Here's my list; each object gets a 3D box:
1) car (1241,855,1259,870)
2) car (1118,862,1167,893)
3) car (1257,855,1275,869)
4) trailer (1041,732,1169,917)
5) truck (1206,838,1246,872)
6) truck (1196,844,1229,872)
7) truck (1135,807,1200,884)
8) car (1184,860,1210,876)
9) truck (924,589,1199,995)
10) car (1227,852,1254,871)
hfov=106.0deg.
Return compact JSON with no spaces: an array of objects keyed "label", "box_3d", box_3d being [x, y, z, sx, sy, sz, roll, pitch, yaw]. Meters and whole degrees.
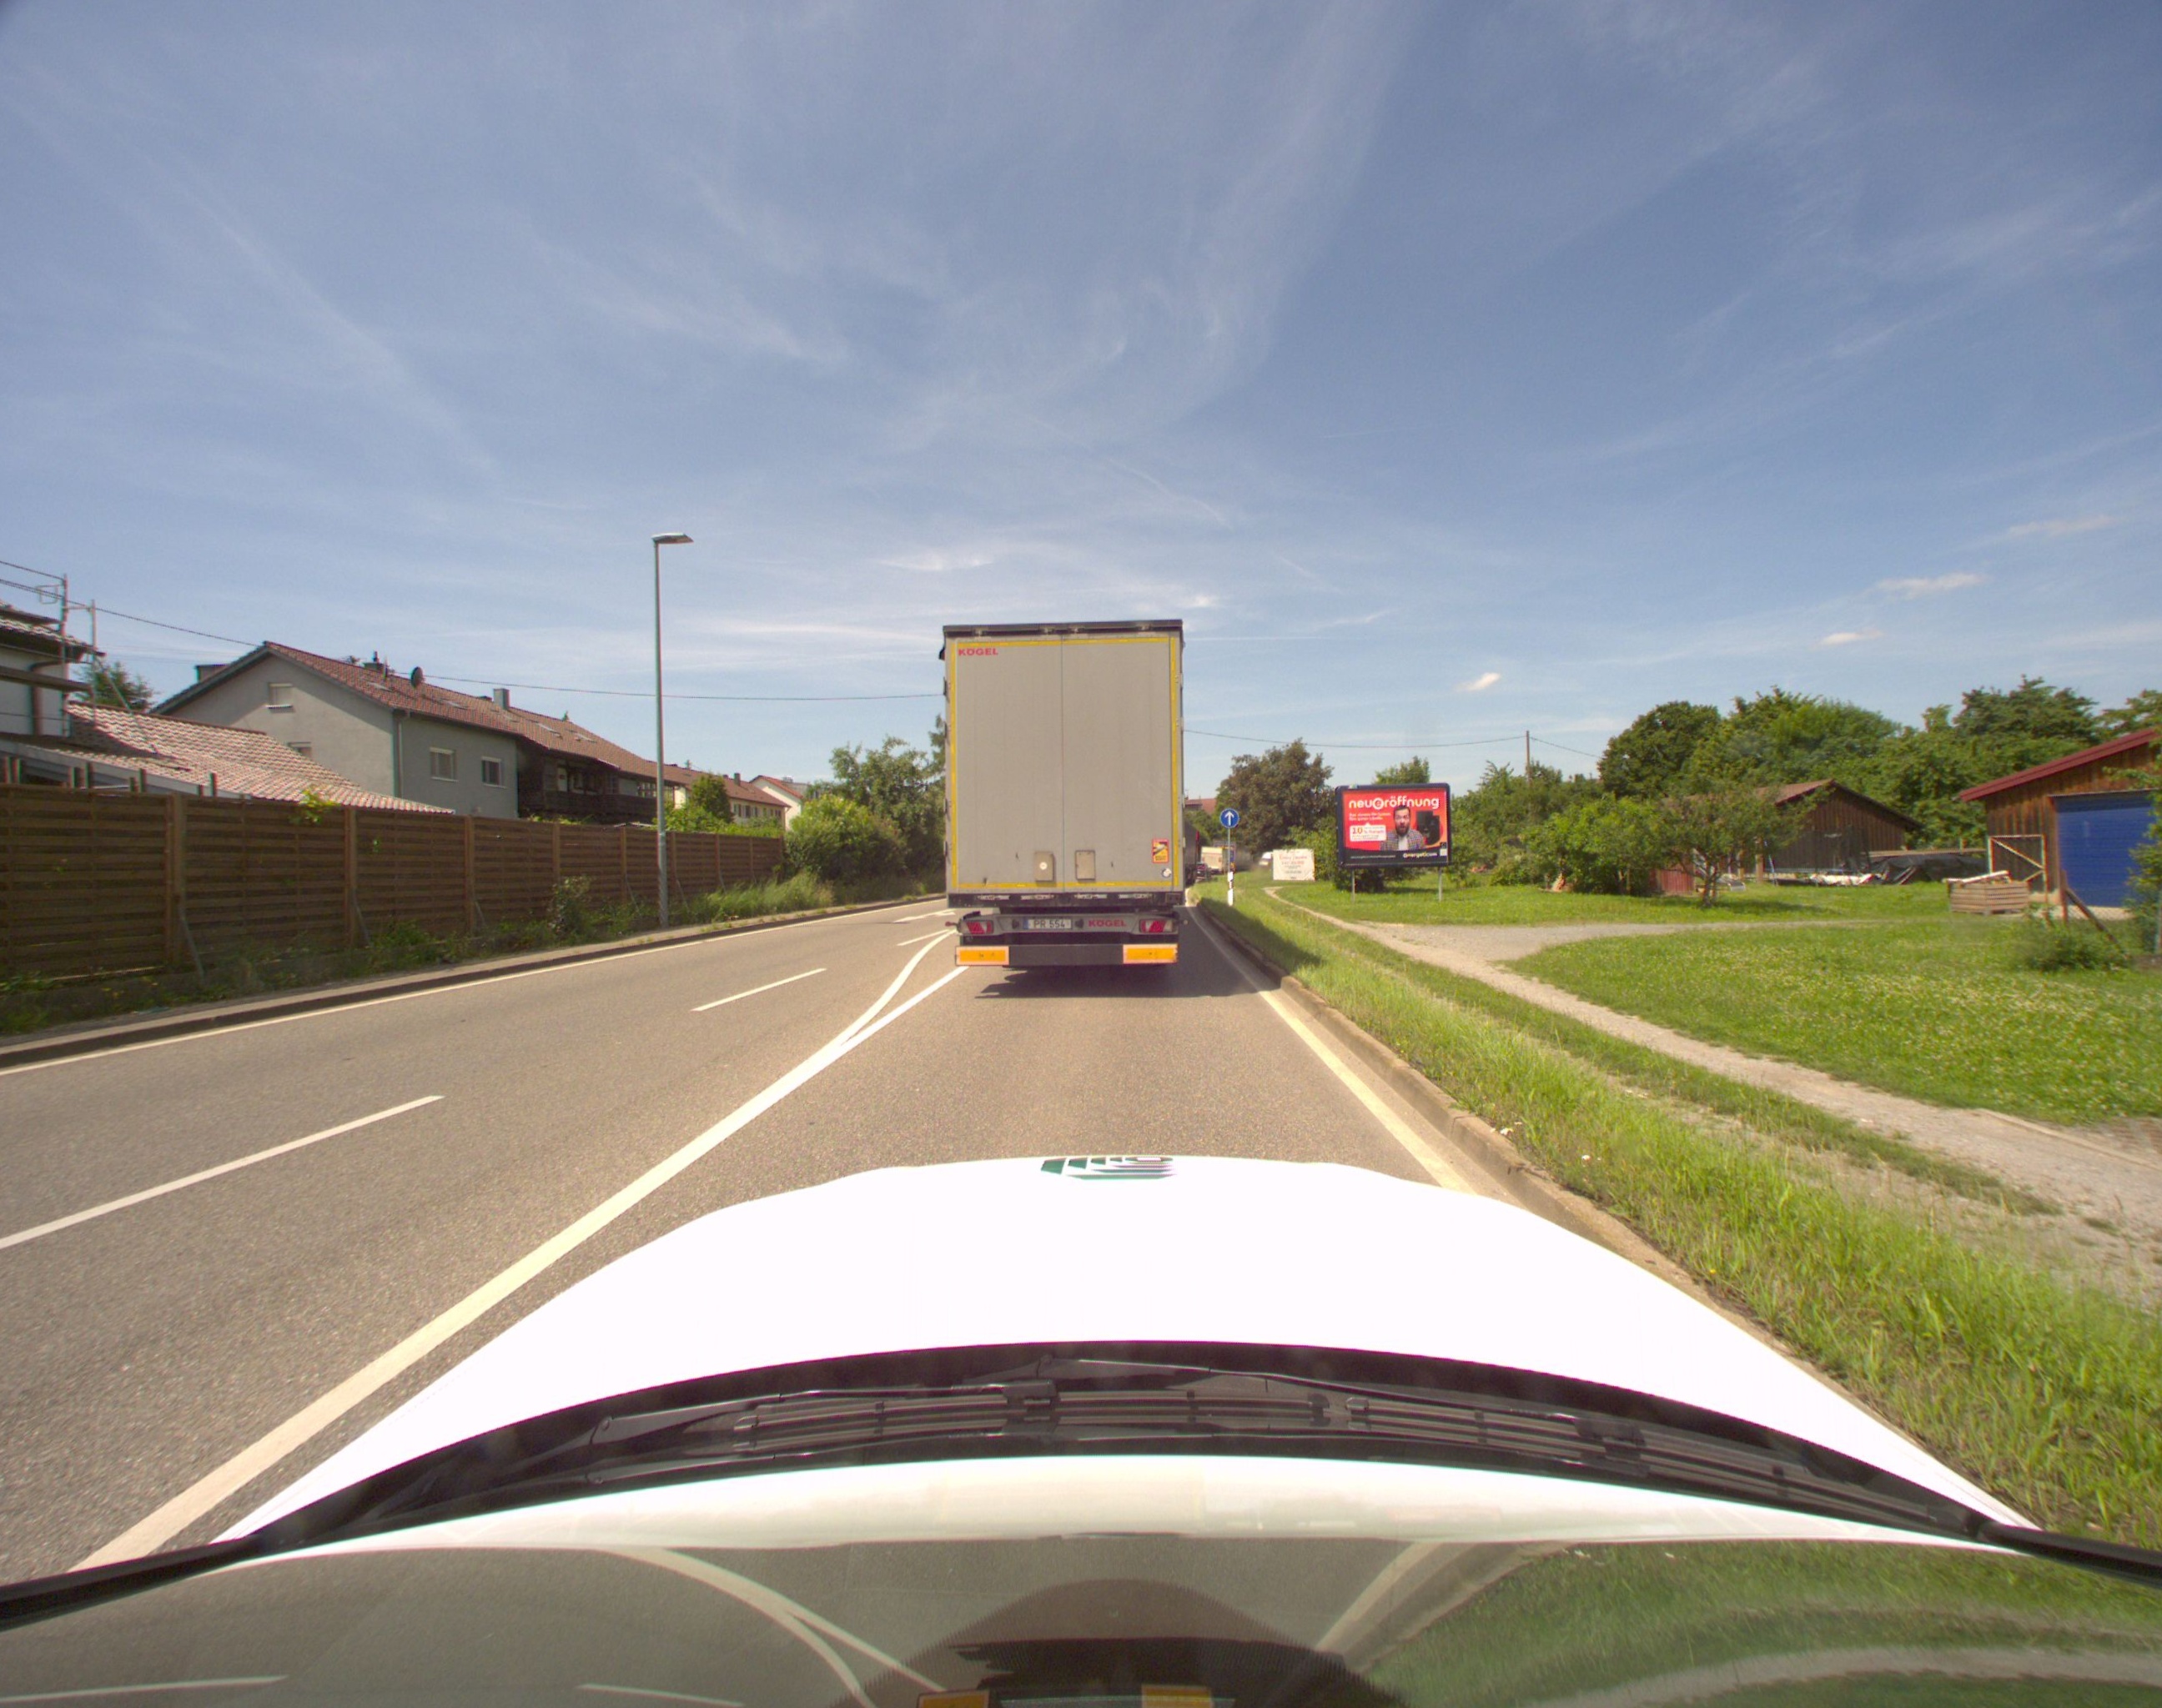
[{"label":"car","box_3d":[22.922,1.173,110.335,1.978,2.014,4.018,-1,-1,17]},{"label":"car","box_3d":[2.805,1.025,36.445,1.808,1.346,3.857,0,-1,9]},{"label":"car","box_3d":[26.948,1.139,118.435,1.976,2.014,4.021,-1,-1,22]},{"label":"trailer","box_3d":[0.801,-0.659,21.524,2.812,4.111,6.553,-1,0,5]},{"label":"truck","box_3d":[16.670,0.095,93.116,3.406,3.604,9.396,-1,0,17]},{"label":"truck","box_3d":[13.454,0.442,83.070,2.524,2.803,6.057,-1,-1,16]},{"label":"truck","box_3d":[5.991,-0.333,53.488,2.742,4.289,16.464,0,-1,11]},{"label":"car","box_3d":[10.701,1.275,74.848,1.979,1.376,4.015,0,-1,14]},{"label":"truck","box_3d":[0.222,-0.635,14.086,2.809,4.127,11.457,0,0,4]},{"label":"car","box_3d":[19.913,0.939,101.463,2.512,2.277,6.410,0,0,18]}]
